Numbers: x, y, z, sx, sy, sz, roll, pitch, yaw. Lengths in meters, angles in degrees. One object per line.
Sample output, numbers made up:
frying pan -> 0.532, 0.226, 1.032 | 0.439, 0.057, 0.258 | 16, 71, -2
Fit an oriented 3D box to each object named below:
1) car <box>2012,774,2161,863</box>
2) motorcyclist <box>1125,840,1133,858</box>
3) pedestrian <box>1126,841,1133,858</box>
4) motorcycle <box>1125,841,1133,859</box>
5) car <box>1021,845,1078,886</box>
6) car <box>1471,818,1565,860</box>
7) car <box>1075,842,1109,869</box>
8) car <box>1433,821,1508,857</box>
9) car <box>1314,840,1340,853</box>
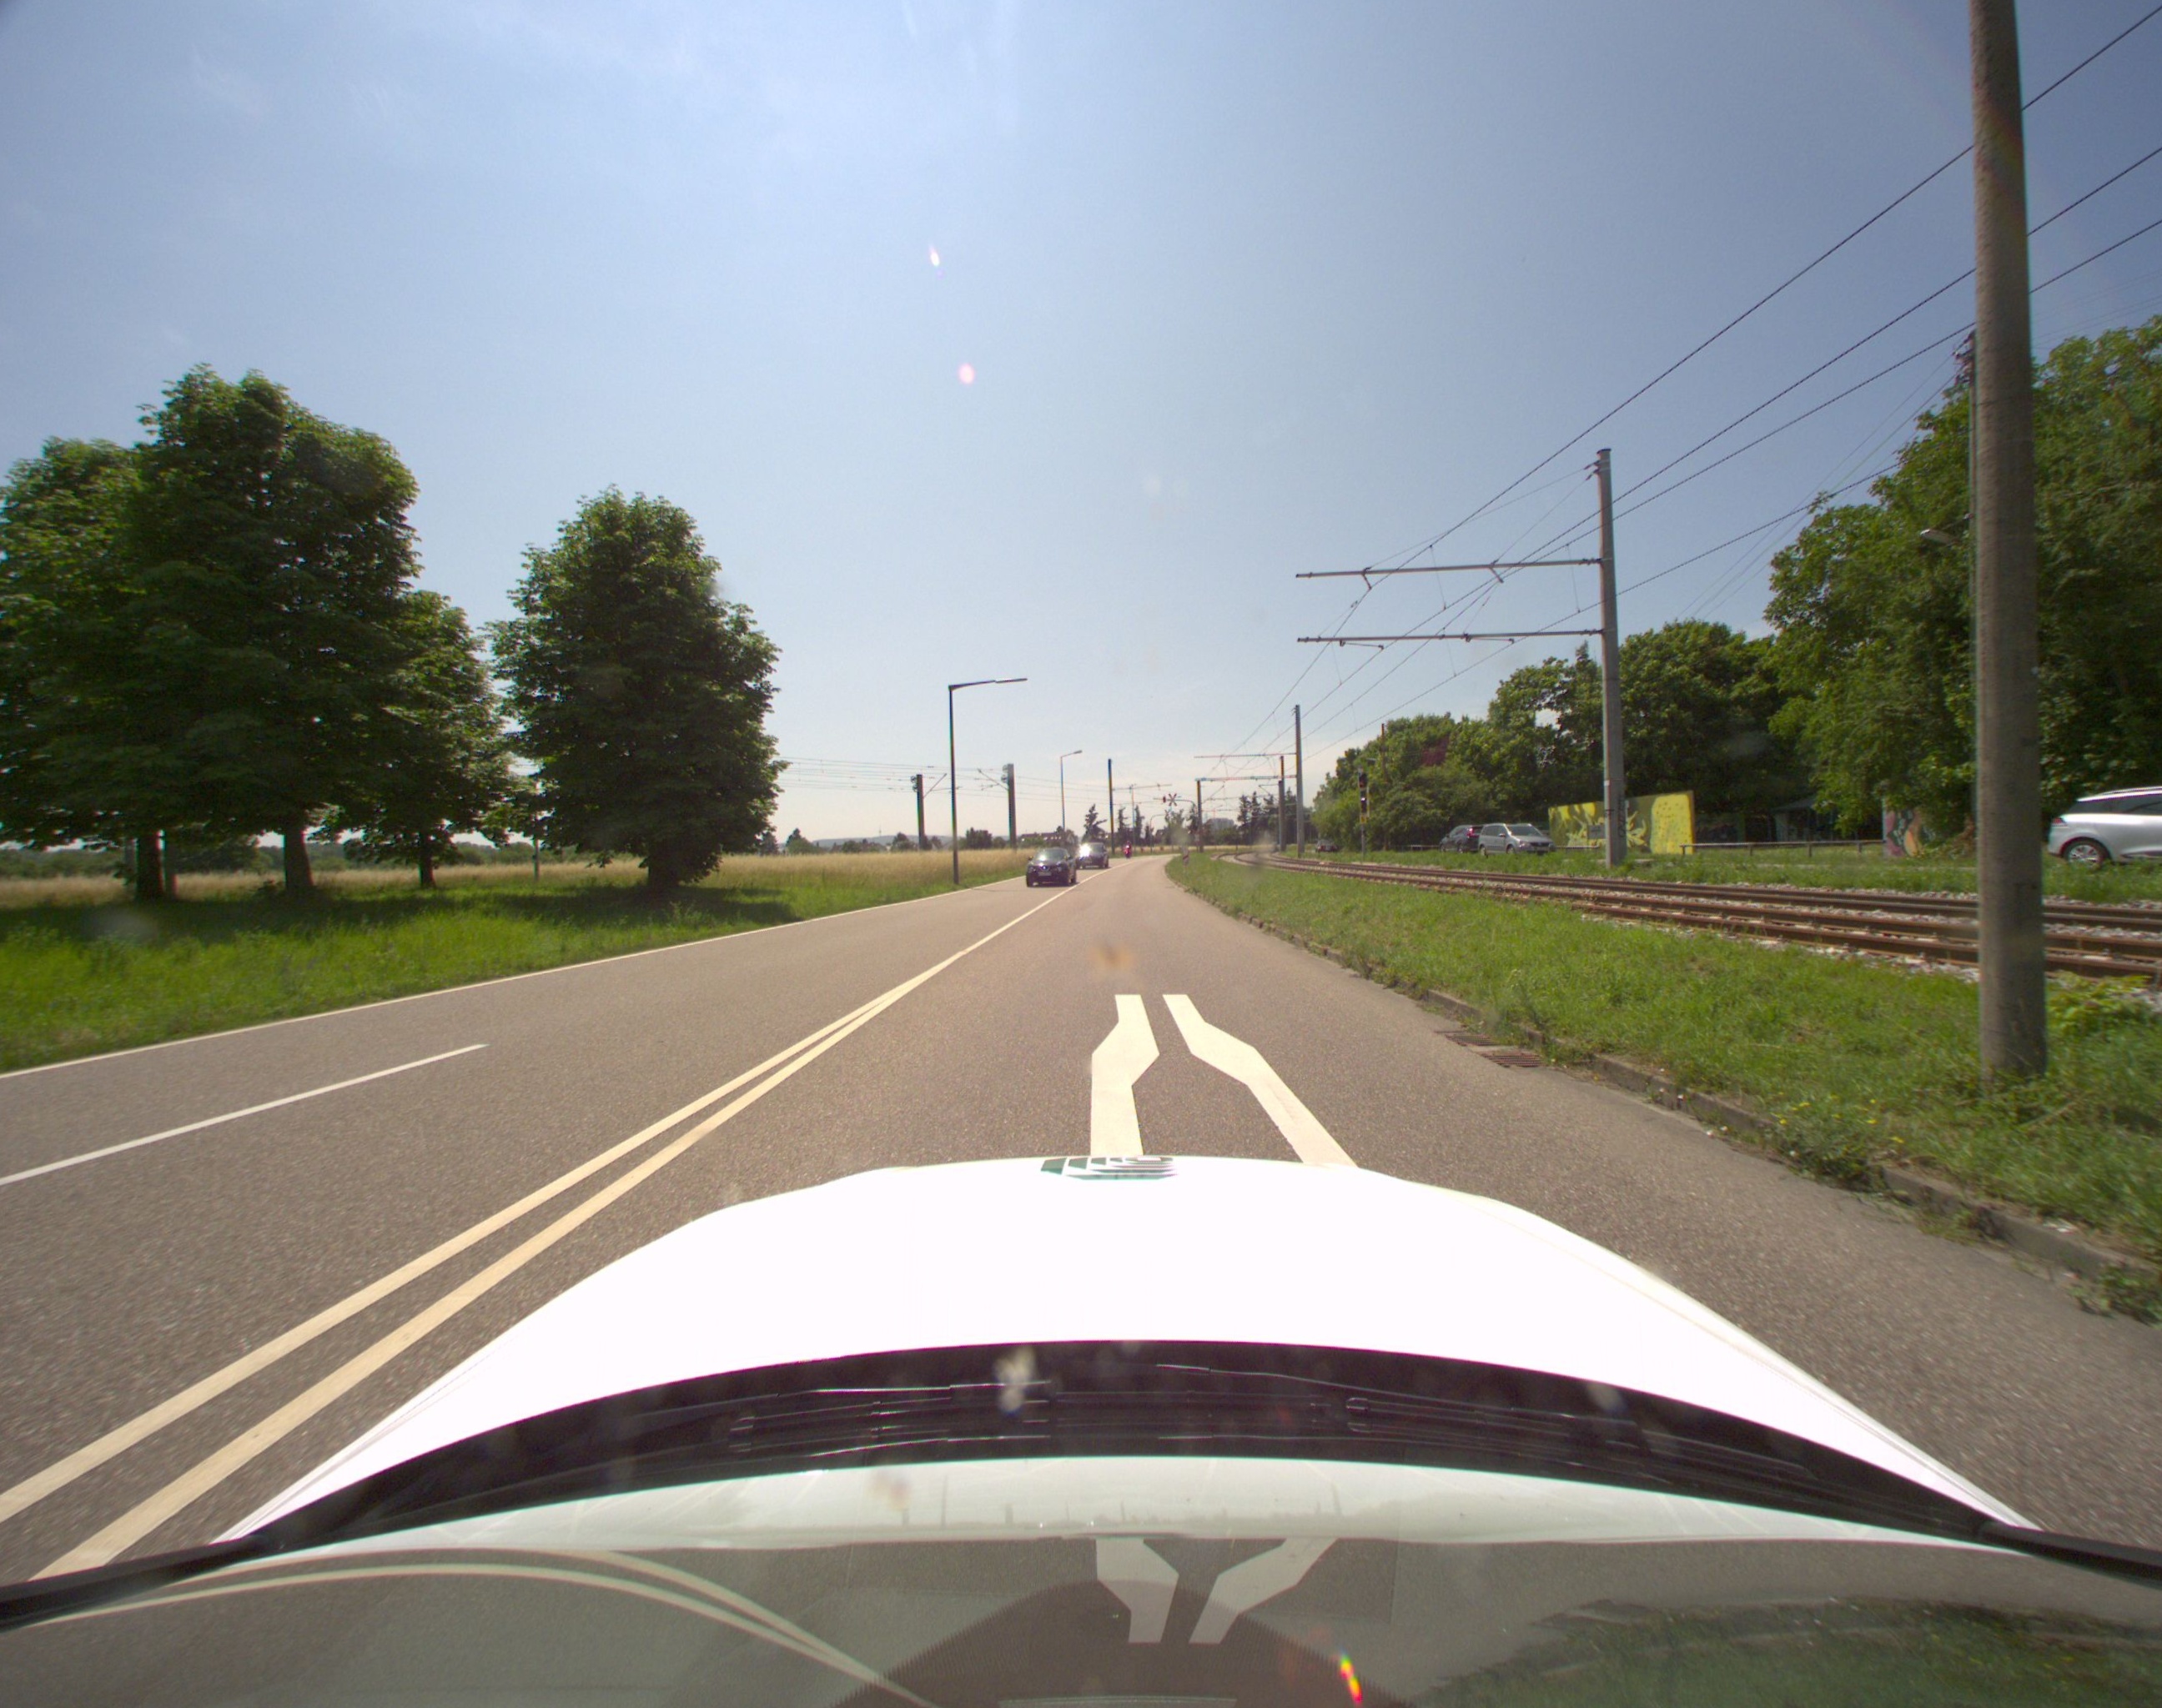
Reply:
car -> 18.140, -0.609, 12.895 | 1.674, 1.414, 4.552 | -2, -1, 2
motorcyclist -> 4.493, -0.452, 76.352 | 0.685, 1.585, 0.671 | -2, 3, 4
pedestrian -> 4.592, -0.430, 77.002 | 0.639, 1.536, 0.578 | -2, 2, 4
motorcycle -> 4.529, -0.373, 76.502 | 0.700, 1.586, 2.150 | -2, 2, 4
car -> -1.284, 0.475, 34.718 | 1.813, 1.572, 4.119 | -2, -1, 6
car -> 19.180, -0.610, 35.997 | 1.670, 1.624, 4.712 | -2, -1, 1
car -> 0.745, 0.084, 52.987 | 1.818, 1.601, 4.491 | -2, 1, 5
car -> 20.151, -0.715, 42.382 | 1.819, 1.656, 4.821 | -2, -1, 4
car -> 24.982, -0.719, 82.705 | 1.638, 1.170, 3.671 | -2, -1, 3
